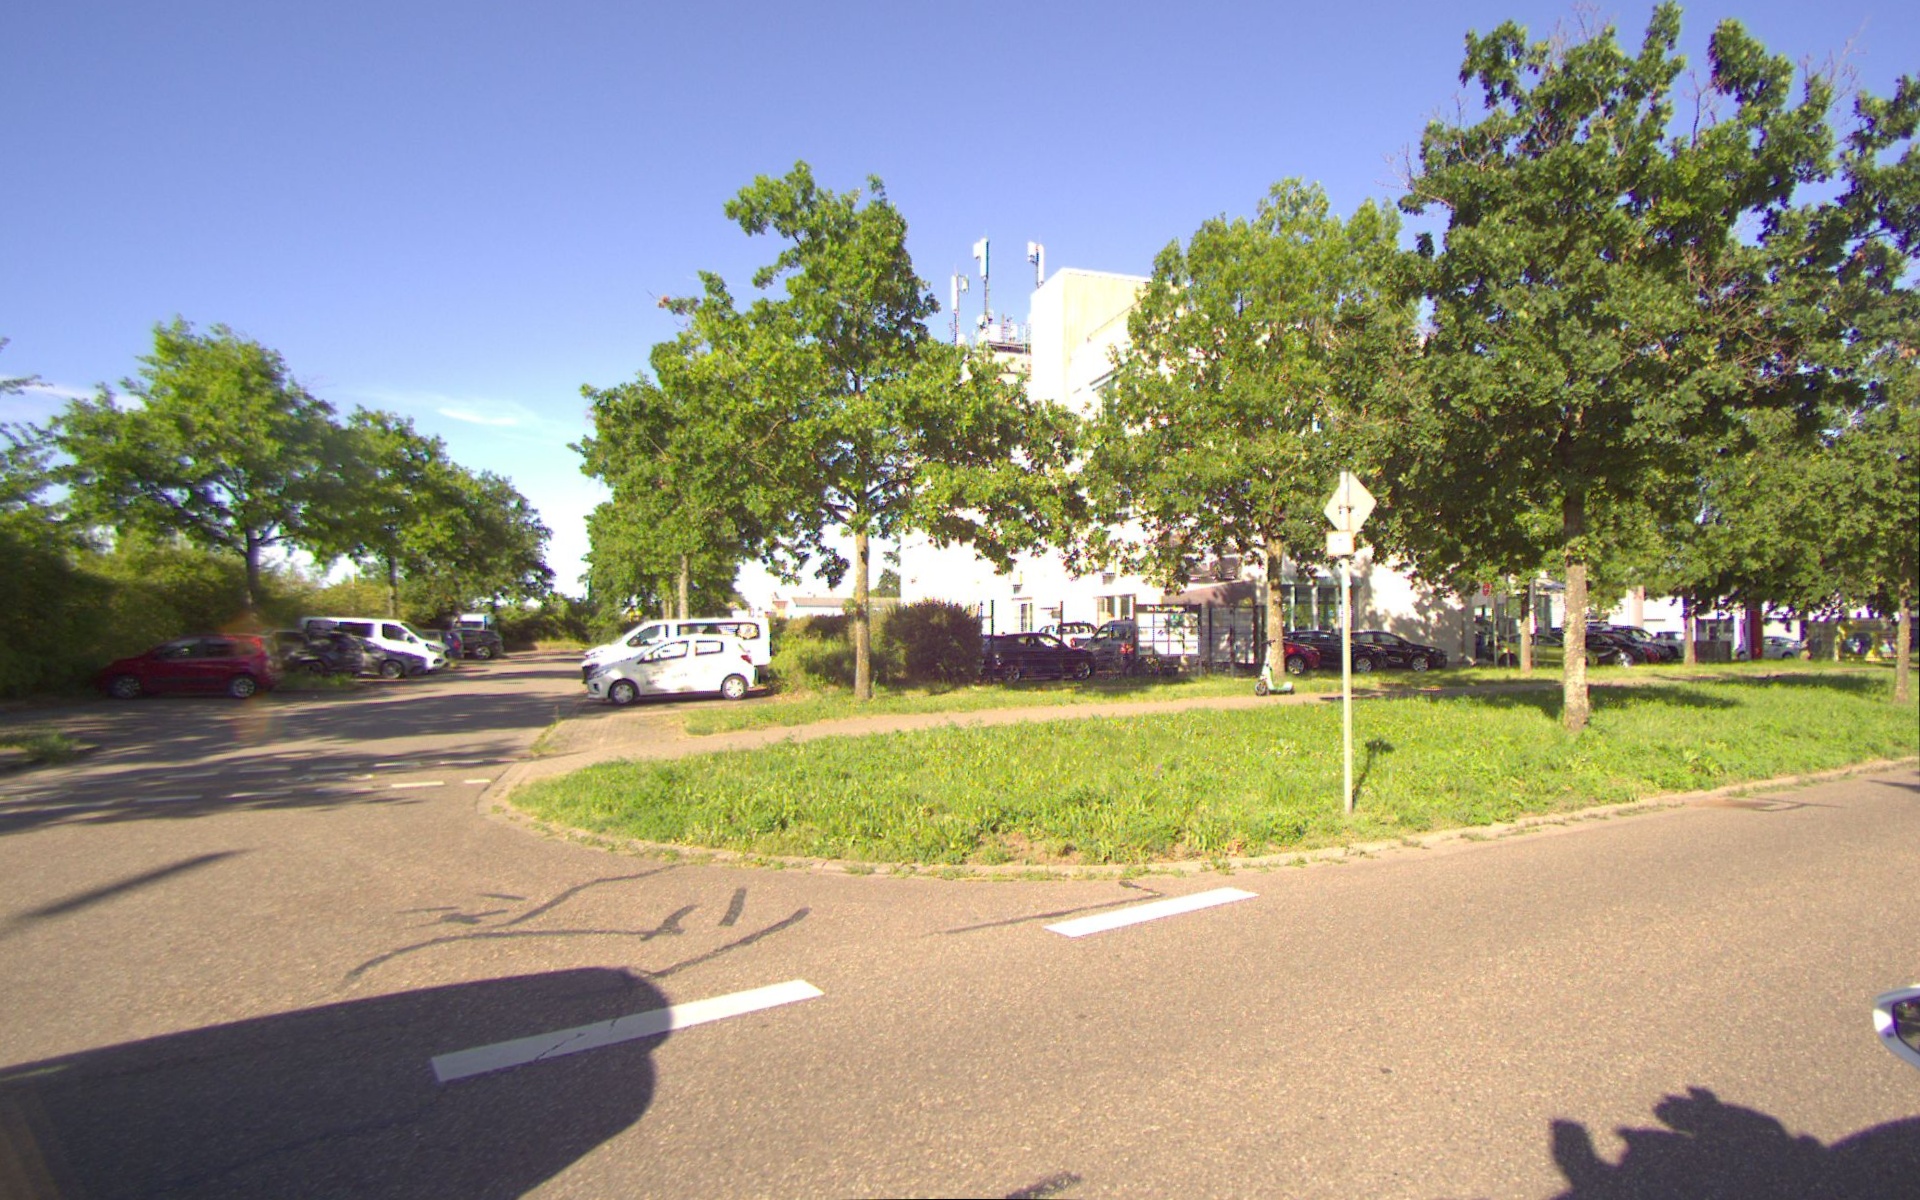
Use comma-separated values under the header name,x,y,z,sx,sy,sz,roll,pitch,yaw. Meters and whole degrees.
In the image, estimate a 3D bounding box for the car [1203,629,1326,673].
name,x,y,z,sx,sy,sz,roll,pitch,yaw
car,10.412,1.734,34.618,3.919,1.467,1.802,-1,-2,12

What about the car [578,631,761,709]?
name,x,y,z,sx,sy,sz,roll,pitch,yaw
car,-6.729,1.561,23.315,3.856,1.524,1.992,-2,-1,-19

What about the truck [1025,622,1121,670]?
name,x,y,z,sx,sy,sz,roll,pitch,yaw
truck,4.215,1.690,38.306,2.054,1.646,4.615,0,0,-16

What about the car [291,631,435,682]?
name,x,y,z,sx,sy,sz,roll,pitch,yaw
car,-20.223,1.884,34.230,3.945,1.633,1.989,1,-2,-24

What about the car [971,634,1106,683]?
name,x,y,z,sx,sy,sz,roll,pitch,yaw
car,2.503,1.831,31.954,3.949,1.467,1.789,1,-2,-28

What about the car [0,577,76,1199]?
name,x,y,z,sx,sy,sz,roll,pitch,yaw
car,-3.853,0.697,0.808,4.446,1.557,1.795,1,-3,-33

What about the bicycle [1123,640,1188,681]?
name,x,y,z,sx,sy,sz,roll,pitch,yaw
bicycle,5.548,1.701,28.425,1.869,1.102,0.636,1,-2,-31

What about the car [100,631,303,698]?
name,x,y,z,sx,sy,sz,roll,pitch,yaw
car,-18.430,1.560,24.590,3.497,1.524,1.798,2,-2,-19

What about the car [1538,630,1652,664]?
name,x,y,z,sx,sy,sz,roll,pitch,yaw
car,29.059,2.155,46.103,4.088,1.510,2.000,-1,-2,21

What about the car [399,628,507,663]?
name,x,y,z,sx,sy,sz,roll,pitch,yaw
car,-26.979,2.403,53.592,4.801,1.797,1.994,0,-2,-15

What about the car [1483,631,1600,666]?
name,x,y,z,sx,sy,sz,roll,pitch,yaw
car,24.245,2.014,42.002,3.875,1.420,2.001,-1,-2,18

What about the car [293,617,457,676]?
name,x,y,z,sx,sy,sz,roll,pitch,yaw
car,-21.347,1.683,36.901,4.801,2.040,1.994,0,-2,-15

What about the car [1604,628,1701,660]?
name,x,y,z,sx,sy,sz,roll,pitch,yaw
car,43.345,2.732,63.049,1.908,1.931,5.013,0,-2,-14

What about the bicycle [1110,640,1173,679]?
name,x,y,z,sx,sy,sz,roll,pitch,yaw
bicycle,5.316,1.727,29.443,1.869,1.102,0.636,1,-2,-31

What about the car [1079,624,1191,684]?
name,x,y,z,sx,sy,sz,roll,pitch,yaw
car,5.723,1.729,33.384,1.994,1.807,4.013,0,0,-19

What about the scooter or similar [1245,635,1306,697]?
name,x,y,z,sx,sy,sz,roll,pitch,yaw
scooter or similar,6.849,1.416,21.793,1.424,1.296,0.393,1,-2,-30

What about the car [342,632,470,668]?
name,x,y,z,sx,sy,sz,roll,pitch,yaw
car,-25.557,2.273,46.497,4.801,1.590,1.994,0,-2,-15

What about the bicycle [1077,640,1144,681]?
name,x,y,z,sx,sy,sz,roll,pitch,yaw
bicycle,4.205,1.679,27.974,1.869,1.102,0.636,1,-2,-31

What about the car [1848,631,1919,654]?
name,x,y,z,sx,sy,sz,roll,pitch,yaw
car,62.270,2.790,66.757,1.915,1.499,4.487,1,-2,-26

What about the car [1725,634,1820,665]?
name,x,y,z,sx,sy,sz,roll,pitch,yaw
car,45.522,2.741,56.377,1.931,1.639,3.743,1,-2,-15

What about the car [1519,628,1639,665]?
name,x,y,z,sx,sy,sz,roll,pitch,yaw
car,26.878,2.026,43.780,4.087,1.558,1.897,-1,-2,18

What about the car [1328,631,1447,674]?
name,x,y,z,sx,sy,sz,roll,pitch,yaw
car,16.193,1.948,38.096,3.929,1.531,1.797,-1,-1,31

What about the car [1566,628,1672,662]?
name,x,y,z,sx,sy,sz,roll,pitch,yaw
car,31.663,2.149,48.411,4.094,1.582,1.997,-1,-2,28

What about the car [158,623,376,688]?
name,x,y,z,sx,sy,sz,roll,pitch,yaw
car,-20.162,1.600,29.474,4.801,1.808,1.994,0,-2,-15

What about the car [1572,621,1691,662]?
name,x,y,z,sx,sy,sz,roll,pitch,yaw
car,34.957,2.155,52.425,4.762,2.040,2.001,-1,-2,18

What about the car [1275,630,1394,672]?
name,x,y,z,sx,sy,sz,roll,pitch,yaw
car,13.507,1.833,36.456,3.920,1.467,1.802,-1,-2,17

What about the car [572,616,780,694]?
name,x,y,z,sx,sy,sz,roll,pitch,yaw
car,-7.947,1.475,28.242,5.357,1.840,2.299,-2,-1,-19

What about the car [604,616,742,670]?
name,x,y,z,sx,sy,sz,roll,pitch,yaw
car,-12.165,1.797,42.660,5.433,1.954,2.361,-2,-1,-19
